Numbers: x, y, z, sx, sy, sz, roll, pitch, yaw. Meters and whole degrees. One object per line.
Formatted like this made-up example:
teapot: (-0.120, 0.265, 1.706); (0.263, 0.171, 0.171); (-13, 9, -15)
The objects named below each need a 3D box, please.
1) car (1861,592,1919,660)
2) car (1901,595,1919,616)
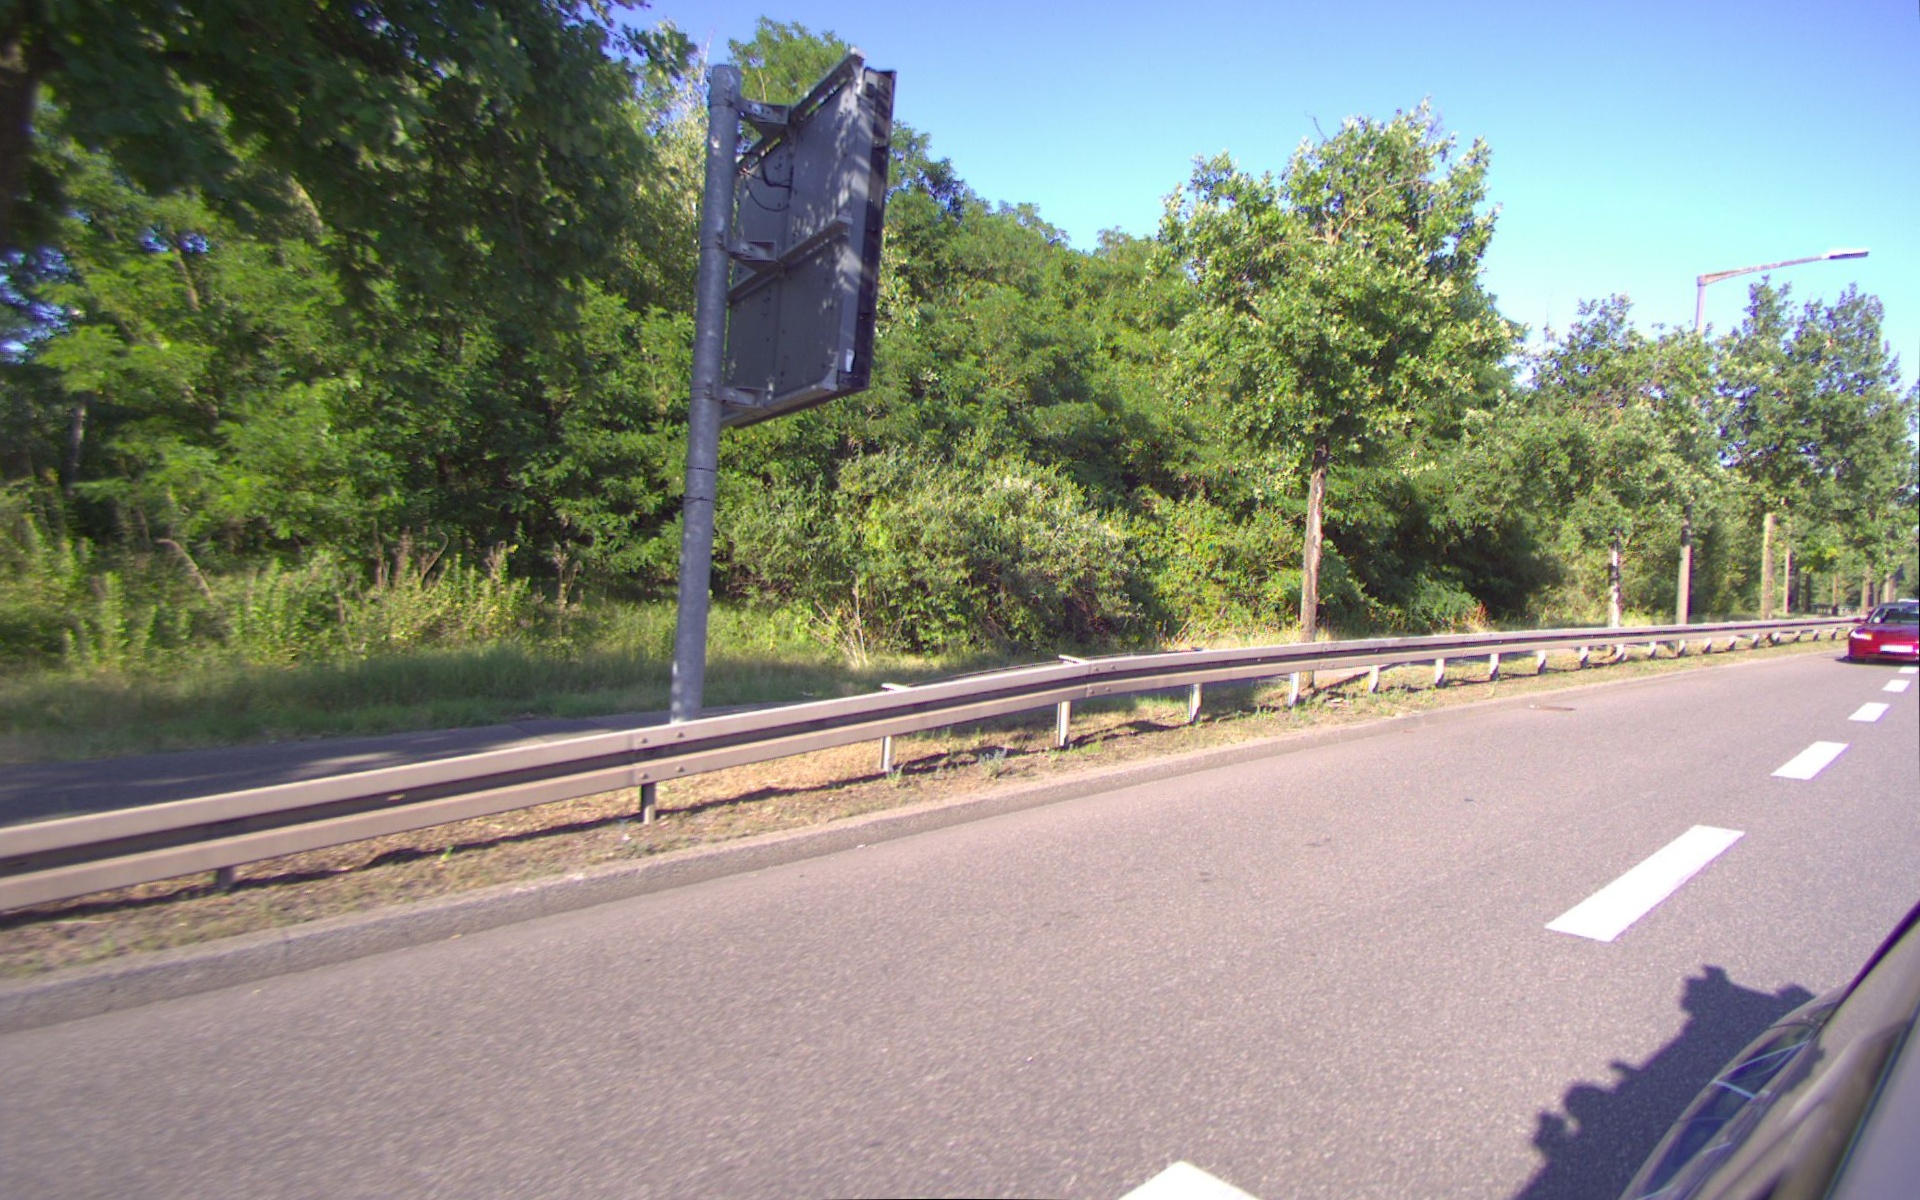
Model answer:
car: (22.246, 0.548, 23.331); (4.286, 1.460, 1.779); (0, 1, -43)
car: (77.177, 0.424, 81.191); (1.822, 1.609, 4.590); (3, 2, 35)
